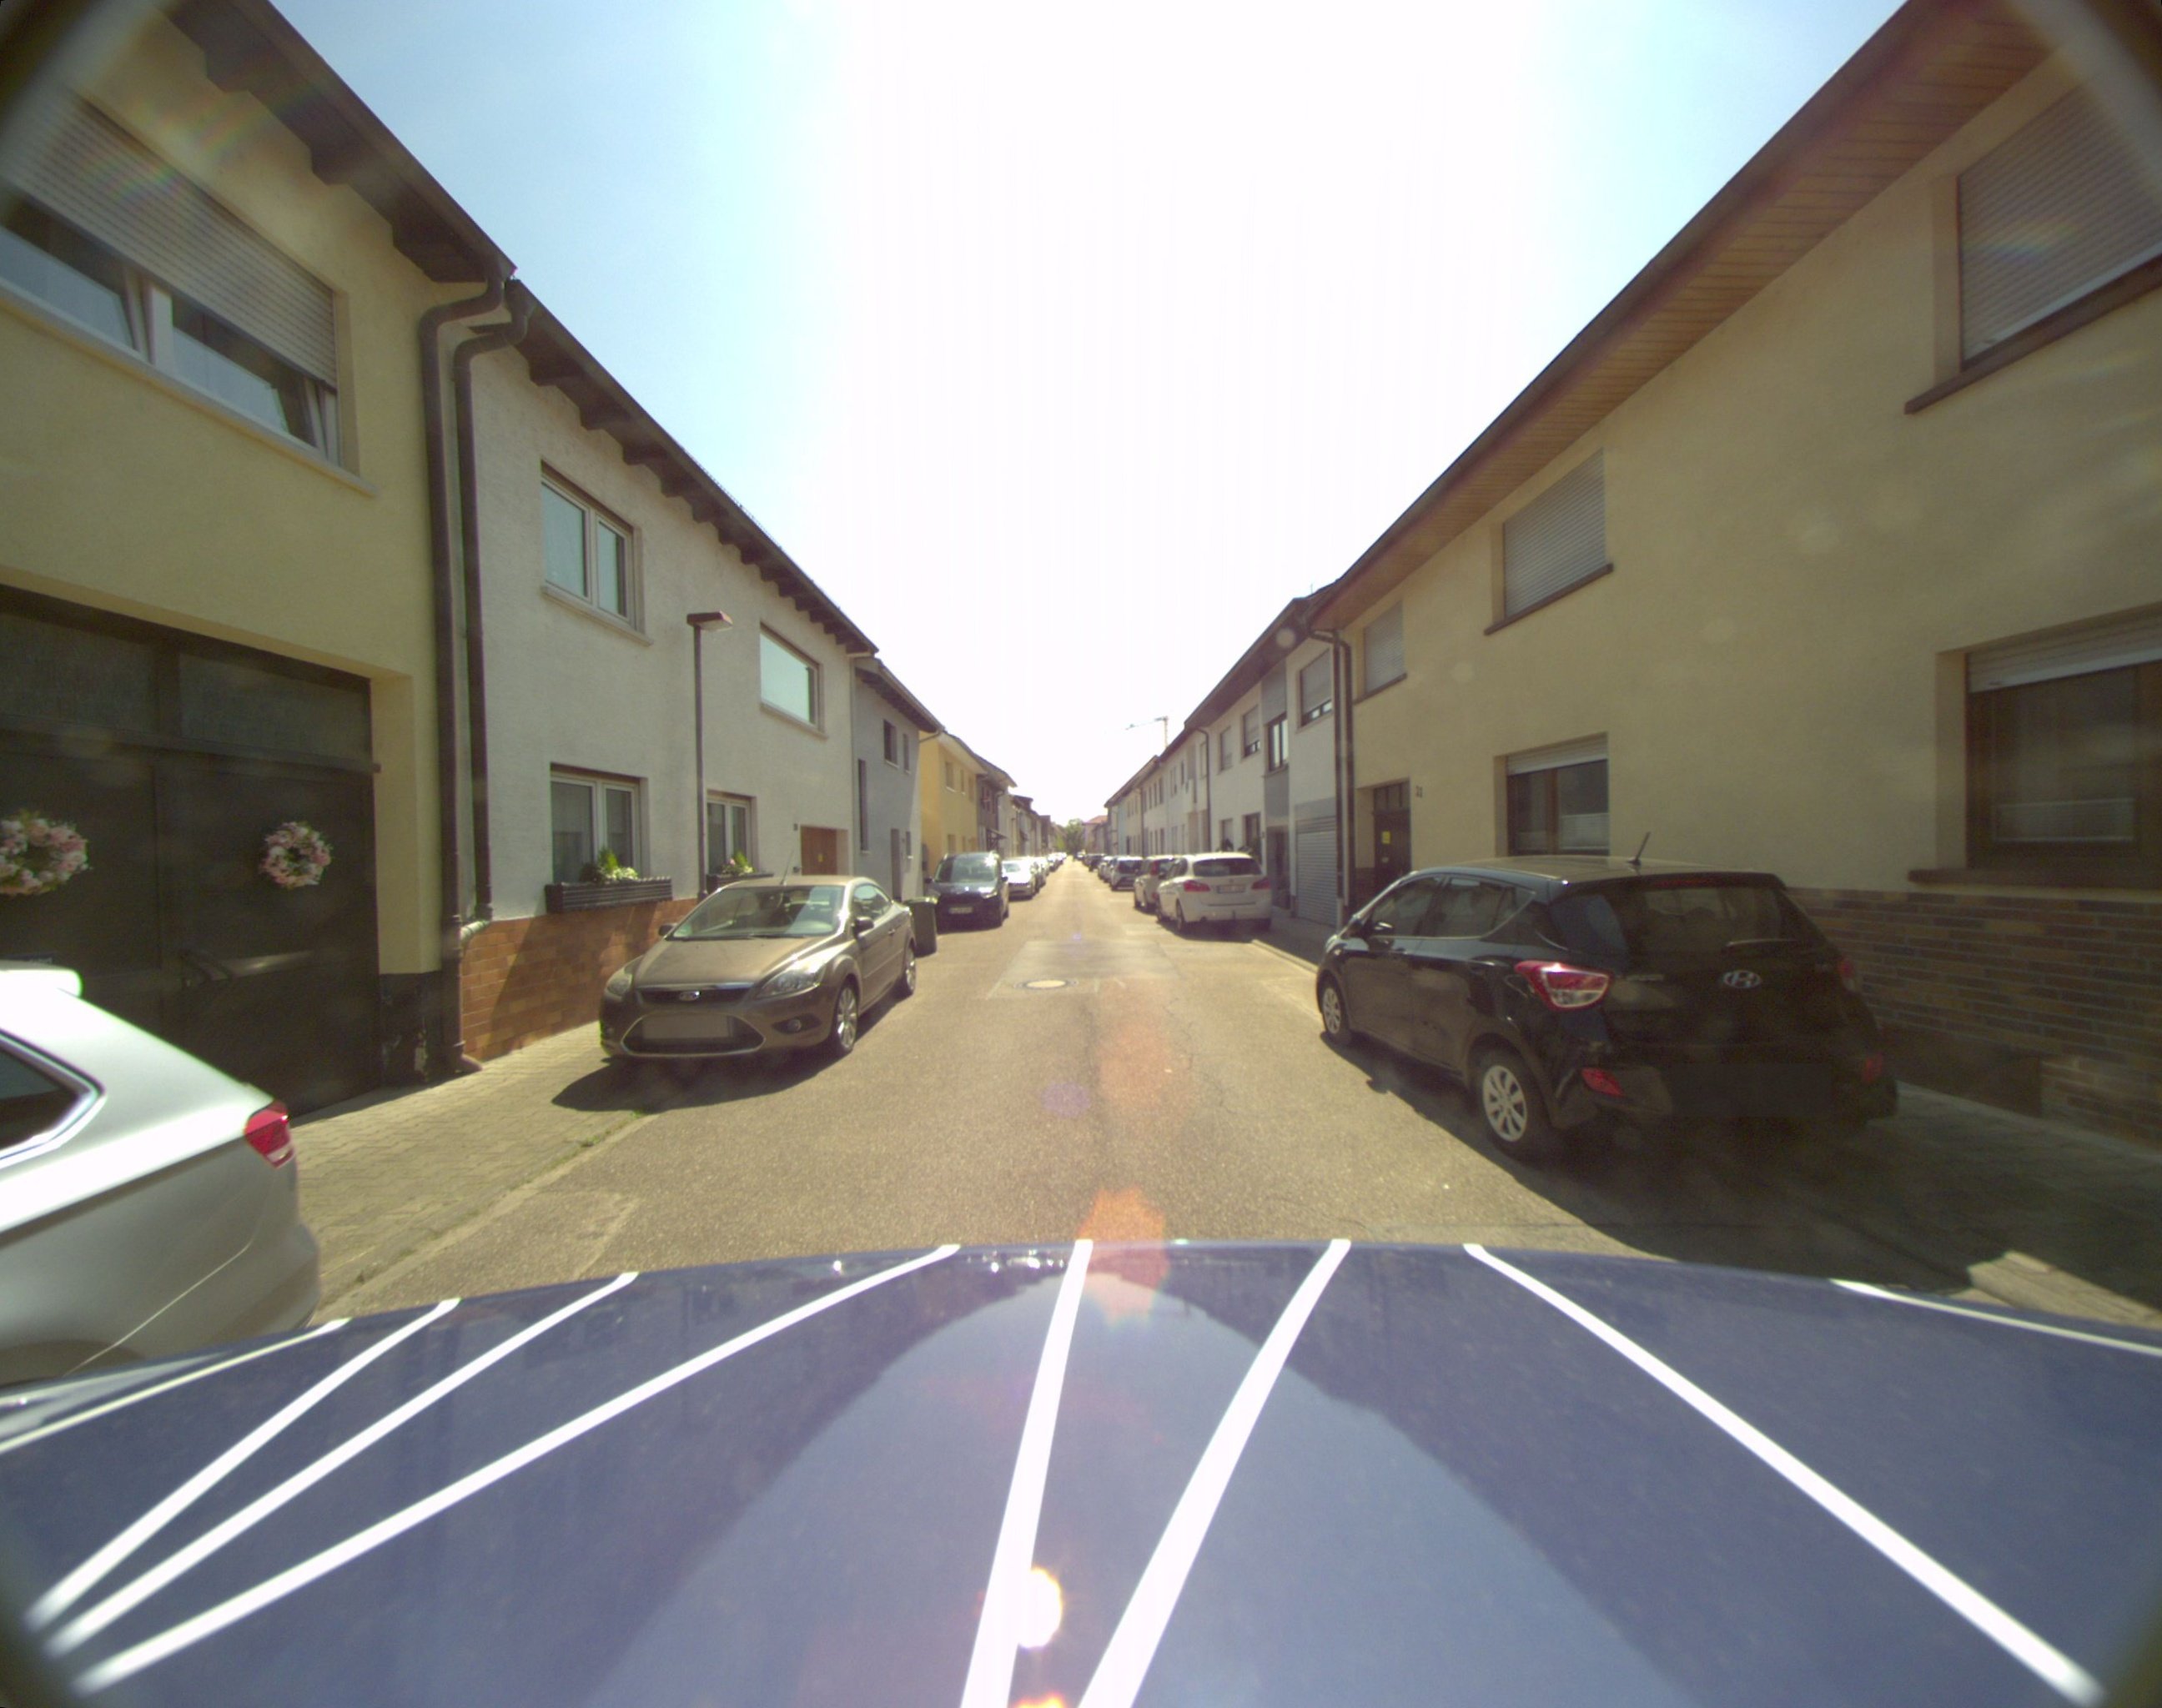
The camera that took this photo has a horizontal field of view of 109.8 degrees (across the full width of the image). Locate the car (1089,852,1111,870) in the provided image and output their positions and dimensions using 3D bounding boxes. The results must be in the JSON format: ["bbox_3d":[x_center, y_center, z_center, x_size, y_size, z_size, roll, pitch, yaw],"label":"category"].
[{"bbox_3d":[1.766,0.606,70.887,1.819,1.598,3.886,-1,1,-1],"label":"car"}]

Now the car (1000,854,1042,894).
[{"bbox_3d":[-2.642,0.842,34.132,1.684,1.575,3.961,-2,1,-3],"label":"car"}]

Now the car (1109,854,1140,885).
[{"bbox_3d":[2.183,0.770,38.997,1.414,1.519,3.025,-1,1,0],"label":"car"}]

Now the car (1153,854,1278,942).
[{"bbox_3d":[2.684,0.815,16.025,1.667,1.540,3.940,-2,1,-3],"label":"car"}]

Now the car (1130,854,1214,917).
[{"bbox_3d":[2.447,0.810,21.289,1.667,1.532,3.687,-2,1,-4],"label":"car"}]

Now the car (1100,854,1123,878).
[{"bbox_3d":[1.971,0.751,49.707,1.414,1.446,3.542,-1,1,0],"label":"car"}]

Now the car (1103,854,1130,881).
[{"bbox_3d":[2.052,0.762,44.110,1.414,1.446,3.461,-1,1,0],"label":"car"}]

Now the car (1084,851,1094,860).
[{"bbox_3d":[1.205,0.192,118.983,1.414,1.389,3.323,-1,1,-1],"label":"car"}]

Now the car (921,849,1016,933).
[{"bbox_3d":[-2.610,0.792,18.509,1.701,1.767,4.198,-1,1,0],"label":"car"}]

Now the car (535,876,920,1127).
[{"bbox_3d":[-2.758,1.028,7.064,1.701,1.427,4.101,-3,1,-2],"label":"car"}]

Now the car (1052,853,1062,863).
[{"bbox_3d":[-3.424,0.546,109.730,1.414,1.389,3.323,-1,1,-1],"label":"car"}]

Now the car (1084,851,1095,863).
[{"bbox_3d":[1.235,0.423,111.689,1.414,1.582,3.323,-1,1,-1],"label":"car"}]

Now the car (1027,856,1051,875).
[{"bbox_3d":[-3.350,0.884,61.433,1.761,1.351,4.045,-3,1,-1],"label":"car"}]

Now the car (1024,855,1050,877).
[{"bbox_3d":[-3.184,0.869,56.144,1.743,1.460,4.044,-3,1,-2],"label":"car"}]

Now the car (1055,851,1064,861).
[{"bbox_3d":[-3.658,0.298,128.364,1.414,1.604,3.323,-1,1,-1],"label":"car"}]

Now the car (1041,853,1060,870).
[{"bbox_3d":[-2.966,0.746,74.350,1.736,1.502,3.623,-3,1,-1],"label":"car"}]

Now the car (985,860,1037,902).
[{"bbox_3d":[-2.584,0.955,28.873,1.666,1.406,4.247,-1,1,-1],"label":"car"}]

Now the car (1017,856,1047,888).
[{"bbox_3d":[-2.546,0.908,39.879,1.404,1.519,3.397,-3,1,-2],"label":"car"}]

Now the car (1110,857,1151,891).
[{"bbox_3d":[2.172,0.859,34.073,1.606,1.434,3.213,-1,0,0],"label":"car"}]

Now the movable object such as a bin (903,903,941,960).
[{"bbox_3d":[-2.712,1.320,12.992,0.551,0.886,0.579,-2,1,-7],"label":"movable object such as a bin"}]

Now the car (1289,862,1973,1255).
[{"bbox_3d":[2.826,0.860,5.112,1.644,1.528,3.941,-1,1,-2],"label":"car"}]
